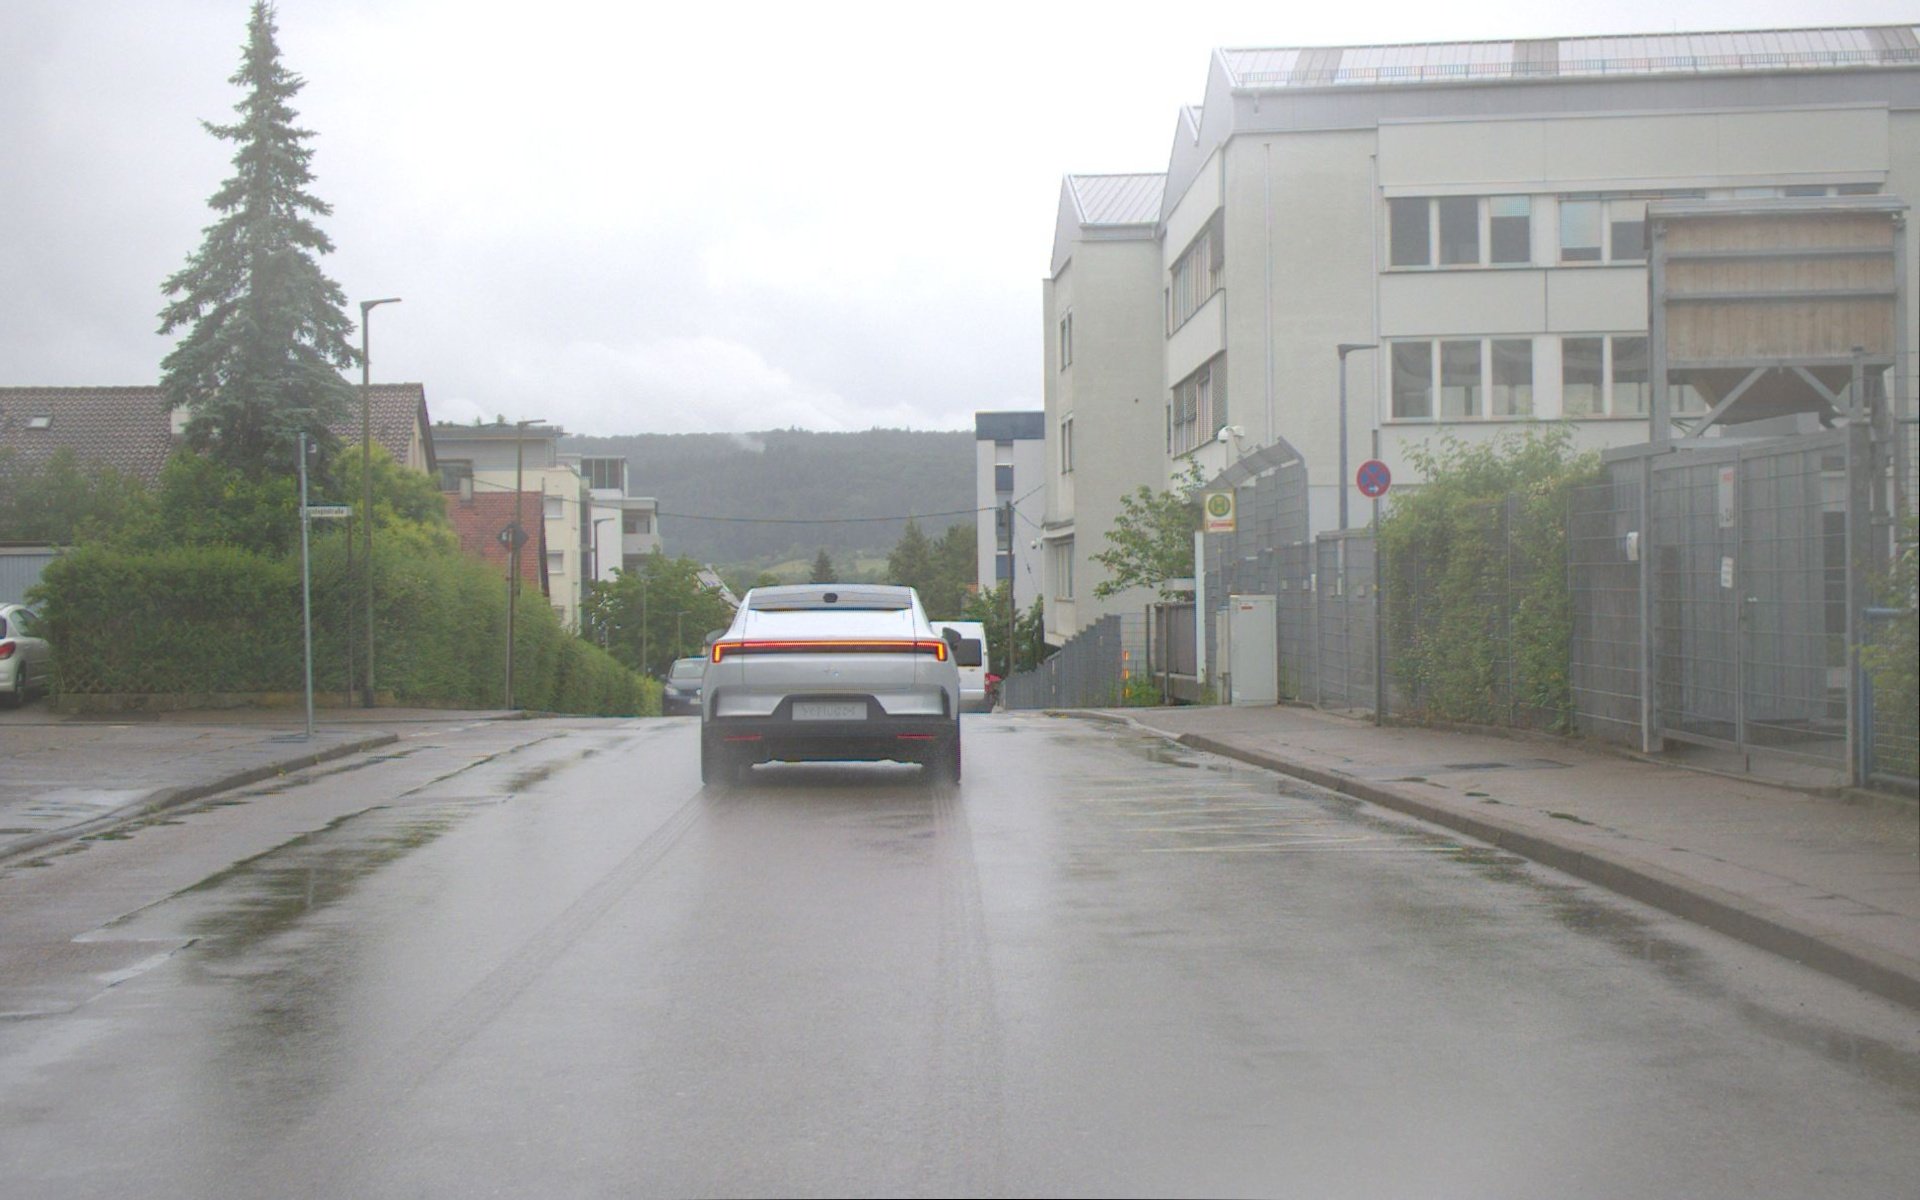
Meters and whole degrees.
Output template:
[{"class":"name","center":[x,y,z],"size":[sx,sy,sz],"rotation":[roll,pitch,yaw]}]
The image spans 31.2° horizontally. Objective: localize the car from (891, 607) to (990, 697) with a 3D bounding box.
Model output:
[{"class":"car","center":[-0.496,1.263,81.758],"size":[1.993,2.007,4.000],"rotation":[-1,-2,-5]}]

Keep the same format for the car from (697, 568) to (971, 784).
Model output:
[{"class":"car","center":[-0.972,0.535,27.452],"size":[1.993,1.497,4.670],"rotation":[0,1,-1]}]

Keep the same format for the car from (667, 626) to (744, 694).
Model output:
[{"class":"car","center":[-5.876,1.377,79.581],"size":[1.675,1.522,4.000],"rotation":[0,-1,-3]}]

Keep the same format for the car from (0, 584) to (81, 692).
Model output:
[{"class":"car","center":[-14.577,0.536,51.722],"size":[1.794,1.503,4.000],"rotation":[0,1,-2]}]
